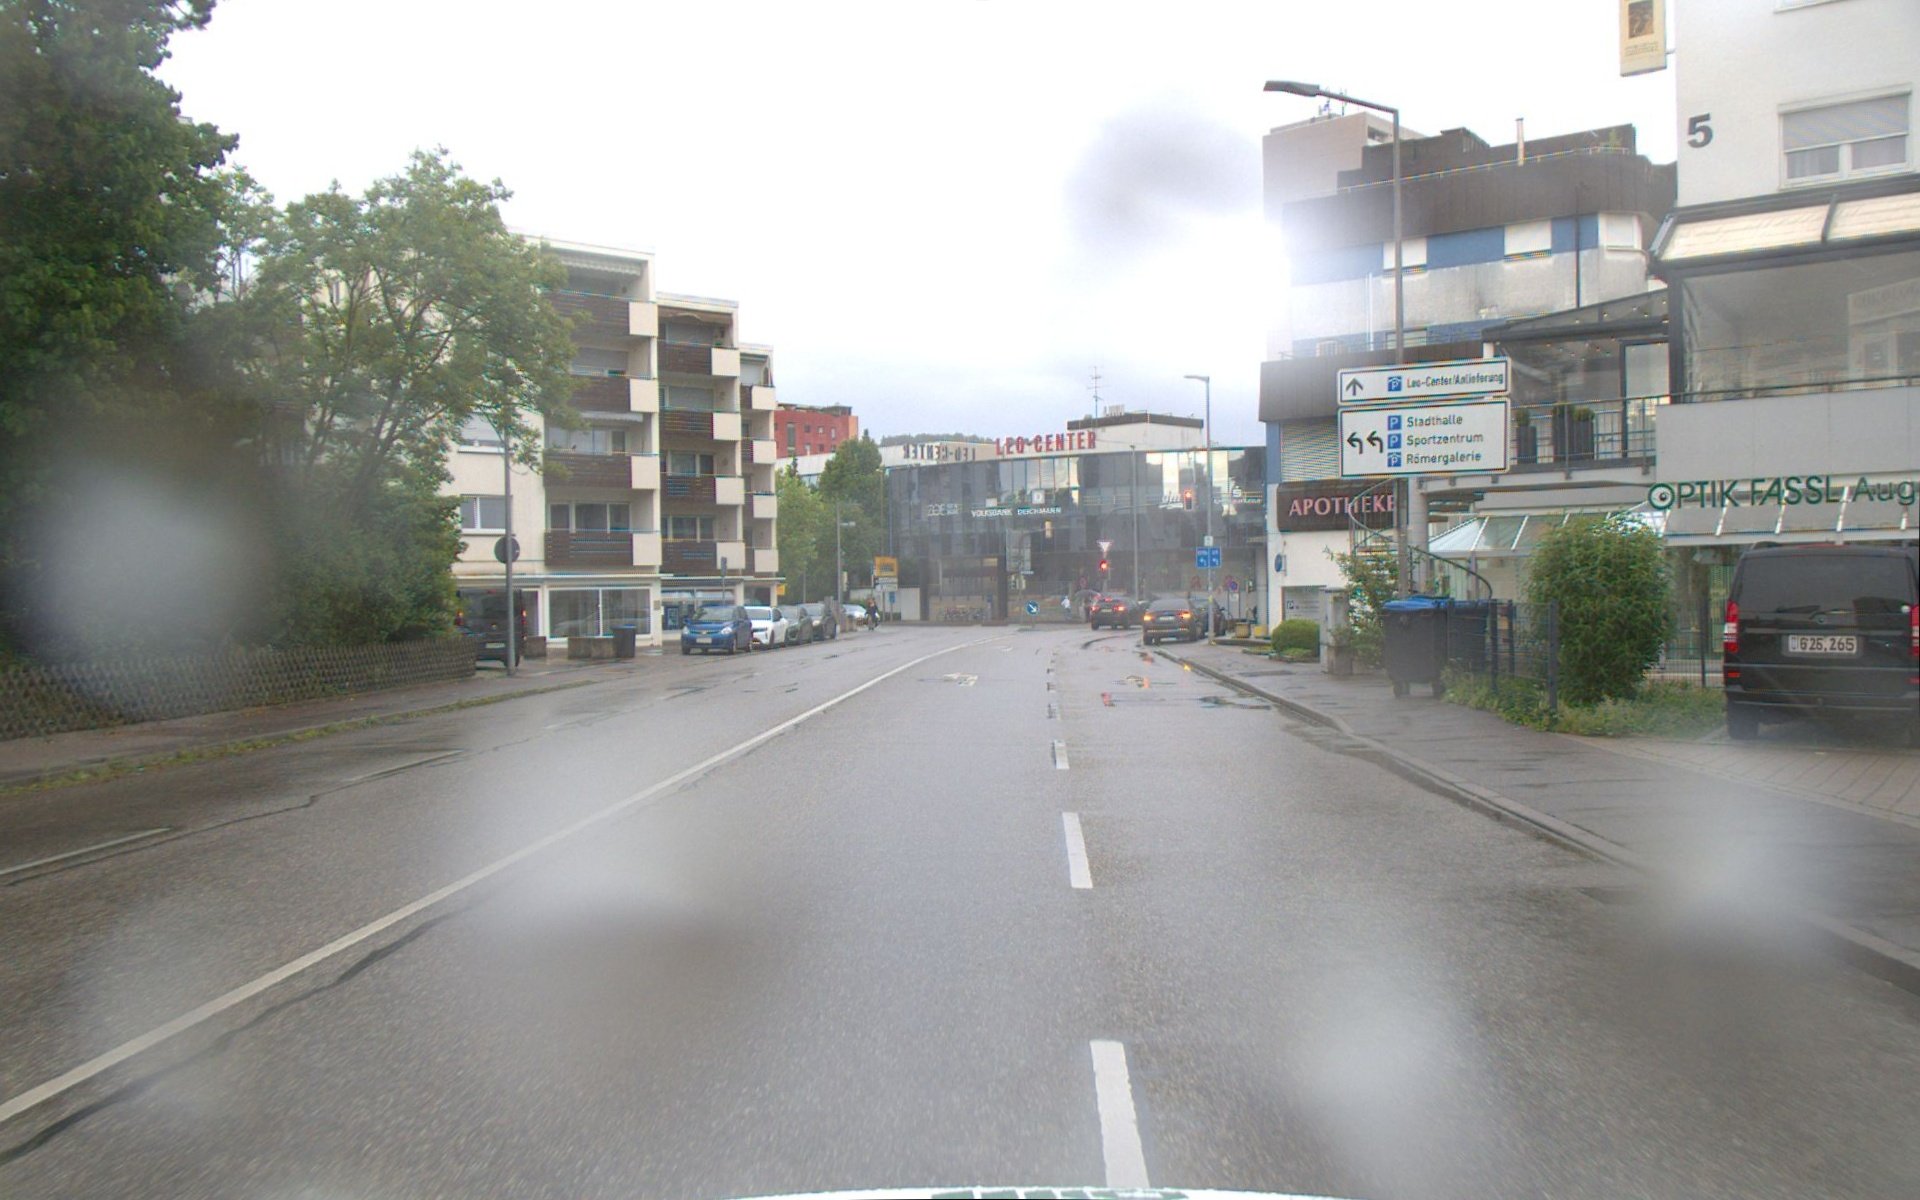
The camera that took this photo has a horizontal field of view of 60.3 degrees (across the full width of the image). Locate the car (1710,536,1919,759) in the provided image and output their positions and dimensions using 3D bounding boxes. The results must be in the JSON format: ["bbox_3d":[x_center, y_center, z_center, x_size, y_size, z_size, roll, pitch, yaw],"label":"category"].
[{"bbox_3d":[9.276,0.413,17.660,1.955,2.049,4.772,-1,0,28],"label":"car"}]

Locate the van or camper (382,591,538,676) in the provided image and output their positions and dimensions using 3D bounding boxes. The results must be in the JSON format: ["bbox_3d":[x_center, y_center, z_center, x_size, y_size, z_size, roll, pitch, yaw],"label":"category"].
[{"bbox_3d":[-12.898,0.798,42.443,1.982,1.958,5.142,-2,2,-40],"label":"van or camper"}]

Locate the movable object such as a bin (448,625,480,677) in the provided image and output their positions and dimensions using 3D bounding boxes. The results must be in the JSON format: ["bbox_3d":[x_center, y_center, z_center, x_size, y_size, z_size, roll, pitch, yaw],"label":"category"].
[{"bbox_3d":[-11.262,1.157,37.556,0.588,1.138,0.600,-1,0,-9],"label":"movable object such as a bin"}]

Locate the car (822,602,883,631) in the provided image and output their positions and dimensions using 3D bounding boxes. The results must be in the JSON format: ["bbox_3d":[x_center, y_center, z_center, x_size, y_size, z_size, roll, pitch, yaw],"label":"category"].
[{"bbox_3d":[-6.827,1.043,104.890,1.975,1.538,4.385,2,2,-32],"label":"car"}]

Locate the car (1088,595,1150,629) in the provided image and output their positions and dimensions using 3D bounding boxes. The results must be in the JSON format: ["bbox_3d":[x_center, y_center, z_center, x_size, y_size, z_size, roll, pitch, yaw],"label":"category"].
[{"bbox_3d":[7.295,0.534,75.497,1.767,1.444,4.000,-1,0,21],"label":"car"}]

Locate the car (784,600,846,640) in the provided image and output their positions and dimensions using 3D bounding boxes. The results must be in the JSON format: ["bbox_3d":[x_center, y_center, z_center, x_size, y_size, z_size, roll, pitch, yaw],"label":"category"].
[{"bbox_3d":[-6.024,0.818,69.143,1.894,1.568,4.275,-1,0,5],"label":"car"}]

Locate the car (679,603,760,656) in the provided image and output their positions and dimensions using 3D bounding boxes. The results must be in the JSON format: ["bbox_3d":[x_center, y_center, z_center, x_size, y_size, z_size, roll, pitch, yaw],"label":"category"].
[{"bbox_3d":[-7.600,0.906,52.526,1.617,1.547,4.327,-1,0,4],"label":"car"}]

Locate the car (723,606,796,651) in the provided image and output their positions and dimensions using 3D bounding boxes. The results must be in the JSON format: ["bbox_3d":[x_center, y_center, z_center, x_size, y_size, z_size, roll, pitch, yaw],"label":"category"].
[{"bbox_3d":[-7.045,0.970,58.534,1.657,1.490,4.687,-1,0,5],"label":"car"}]

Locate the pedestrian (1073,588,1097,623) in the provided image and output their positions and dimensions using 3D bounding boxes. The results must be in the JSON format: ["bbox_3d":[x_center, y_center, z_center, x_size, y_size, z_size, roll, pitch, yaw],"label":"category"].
[{"bbox_3d":[6.246,0.278,82.573,0.896,1.688,0.750,2,1,-23],"label":"pedestrian"}]

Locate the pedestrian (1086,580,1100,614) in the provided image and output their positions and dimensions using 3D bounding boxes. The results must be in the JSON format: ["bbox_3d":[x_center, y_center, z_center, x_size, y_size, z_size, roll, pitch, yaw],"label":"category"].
[{"bbox_3d":[6.715,-0.150,83.499,0.597,1.688,0.672,3,1,-1],"label":"pedestrian"}]

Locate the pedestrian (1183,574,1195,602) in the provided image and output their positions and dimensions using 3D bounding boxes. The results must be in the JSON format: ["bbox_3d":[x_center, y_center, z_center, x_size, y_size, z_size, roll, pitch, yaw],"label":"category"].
[{"bbox_3d":[17.081,-0.872,123.260,0.771,2.049,0.671,-1,-1,15],"label":"pedestrian"}]

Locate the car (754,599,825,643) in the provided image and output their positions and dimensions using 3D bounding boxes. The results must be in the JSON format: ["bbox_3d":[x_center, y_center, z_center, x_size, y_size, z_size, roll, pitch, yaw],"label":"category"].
[{"bbox_3d":[-6.511,0.776,63.632,1.894,1.568,4.523,-1,0,5],"label":"car"}]

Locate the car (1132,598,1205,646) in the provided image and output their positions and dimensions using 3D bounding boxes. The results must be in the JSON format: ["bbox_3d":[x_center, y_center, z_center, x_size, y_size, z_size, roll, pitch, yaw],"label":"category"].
[{"bbox_3d":[7.111,0.754,56.097,1.951,1.560,4.650,0,-1,14],"label":"car"}]

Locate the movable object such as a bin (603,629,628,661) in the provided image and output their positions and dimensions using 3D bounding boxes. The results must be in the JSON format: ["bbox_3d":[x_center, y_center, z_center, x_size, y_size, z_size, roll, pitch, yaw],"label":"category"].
[{"bbox_3d":[-10.231,1.327,49.086,0.562,0.918,0.598,-1,0,4],"label":"movable object such as a bin"}]

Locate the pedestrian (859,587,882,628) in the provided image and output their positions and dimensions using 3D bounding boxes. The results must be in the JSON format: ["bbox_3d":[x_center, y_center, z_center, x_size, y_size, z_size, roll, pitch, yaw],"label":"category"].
[{"bbox_3d":[-4.552,0.392,84.380,0.733,2.048,0.920,3,0,25],"label":"pedestrian"}]

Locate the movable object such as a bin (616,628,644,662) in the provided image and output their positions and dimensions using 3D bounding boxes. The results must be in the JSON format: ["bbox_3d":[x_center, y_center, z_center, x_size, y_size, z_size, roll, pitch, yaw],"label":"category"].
[{"bbox_3d":[-9.681,1.313,48.519,0.634,0.982,0.683,-1,0,4],"label":"movable object such as a bin"}]
